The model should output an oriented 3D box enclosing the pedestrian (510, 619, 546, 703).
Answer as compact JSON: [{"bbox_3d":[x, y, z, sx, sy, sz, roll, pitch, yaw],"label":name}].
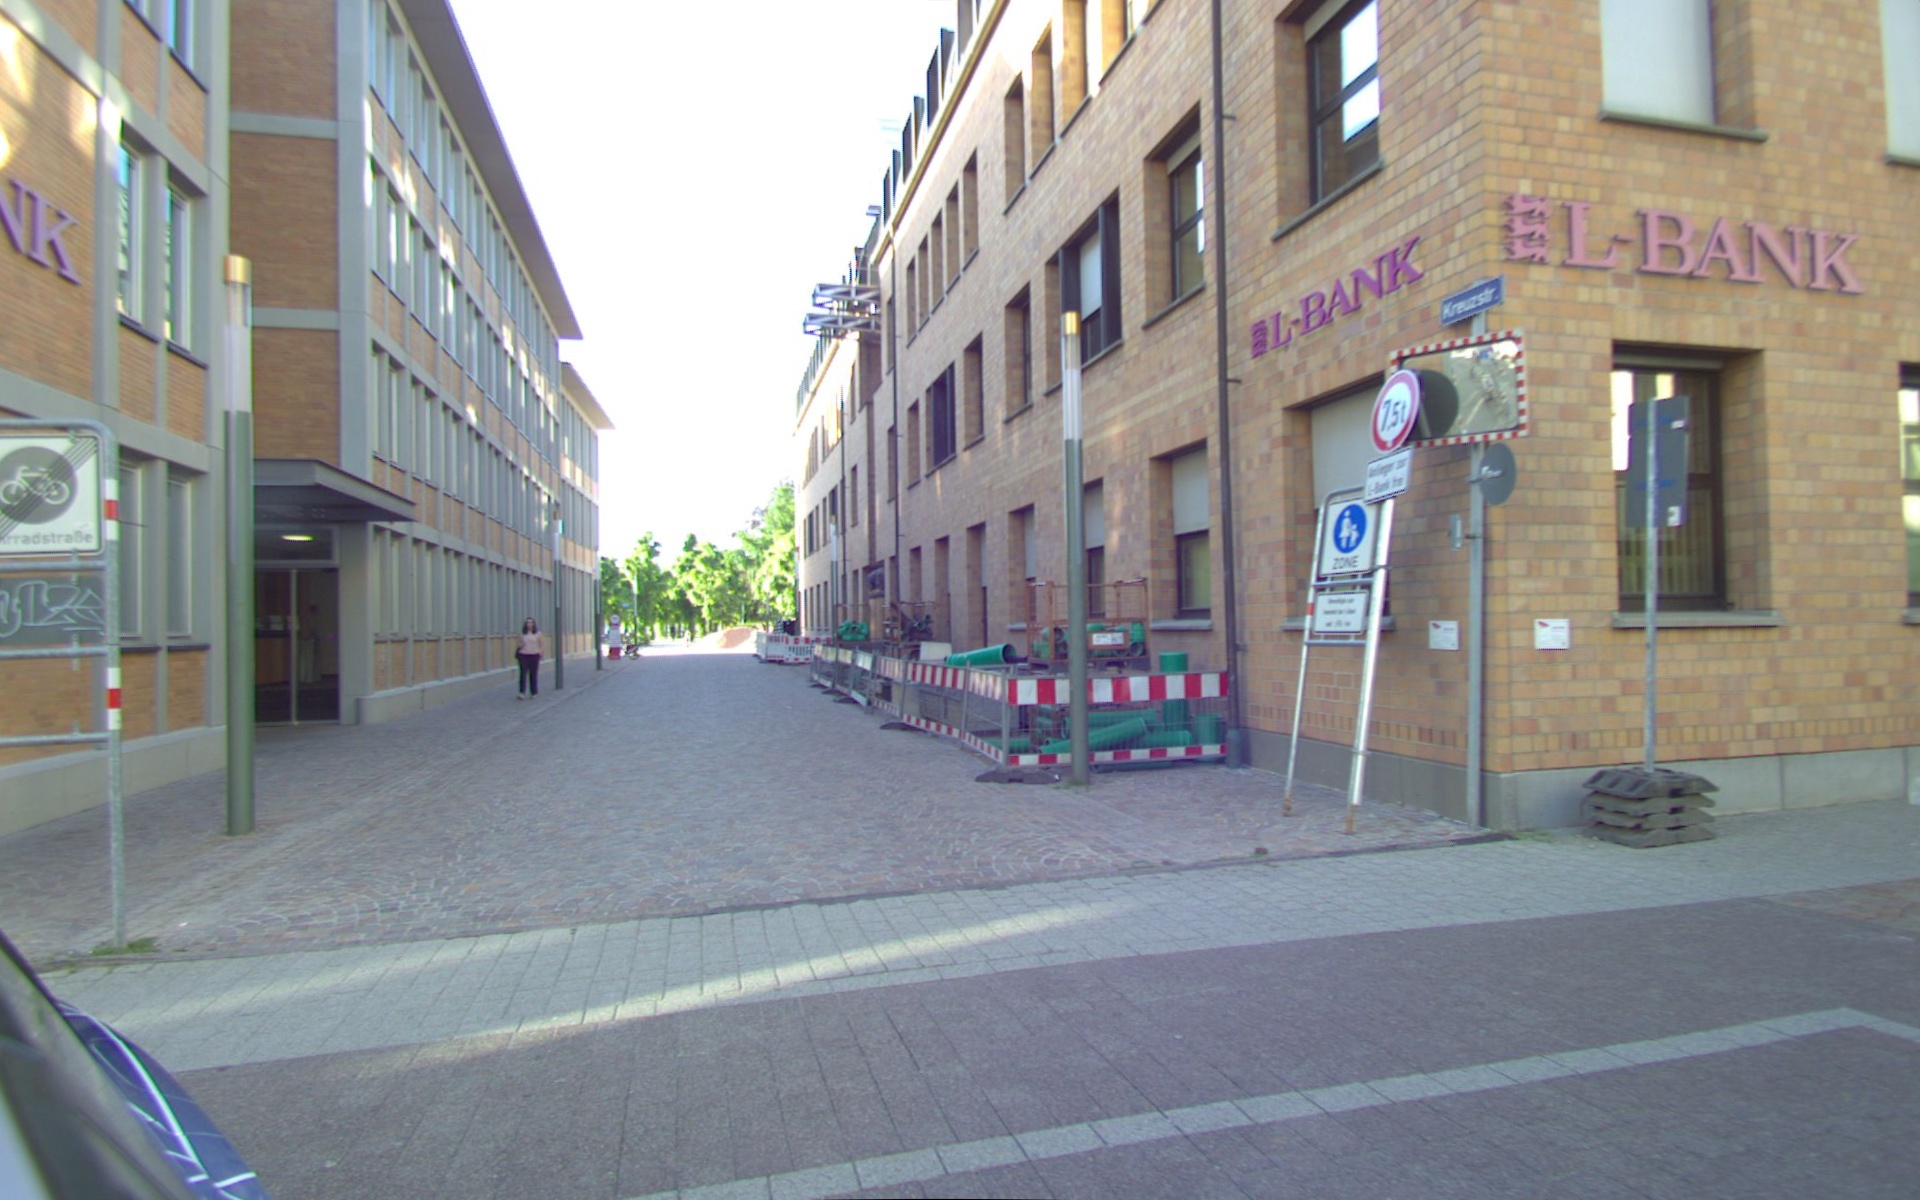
[{"bbox_3d":[-9.493,1.343,22.250,0.628,1.799,0.654,-1,-4,-15],"label":"pedestrian"}]
